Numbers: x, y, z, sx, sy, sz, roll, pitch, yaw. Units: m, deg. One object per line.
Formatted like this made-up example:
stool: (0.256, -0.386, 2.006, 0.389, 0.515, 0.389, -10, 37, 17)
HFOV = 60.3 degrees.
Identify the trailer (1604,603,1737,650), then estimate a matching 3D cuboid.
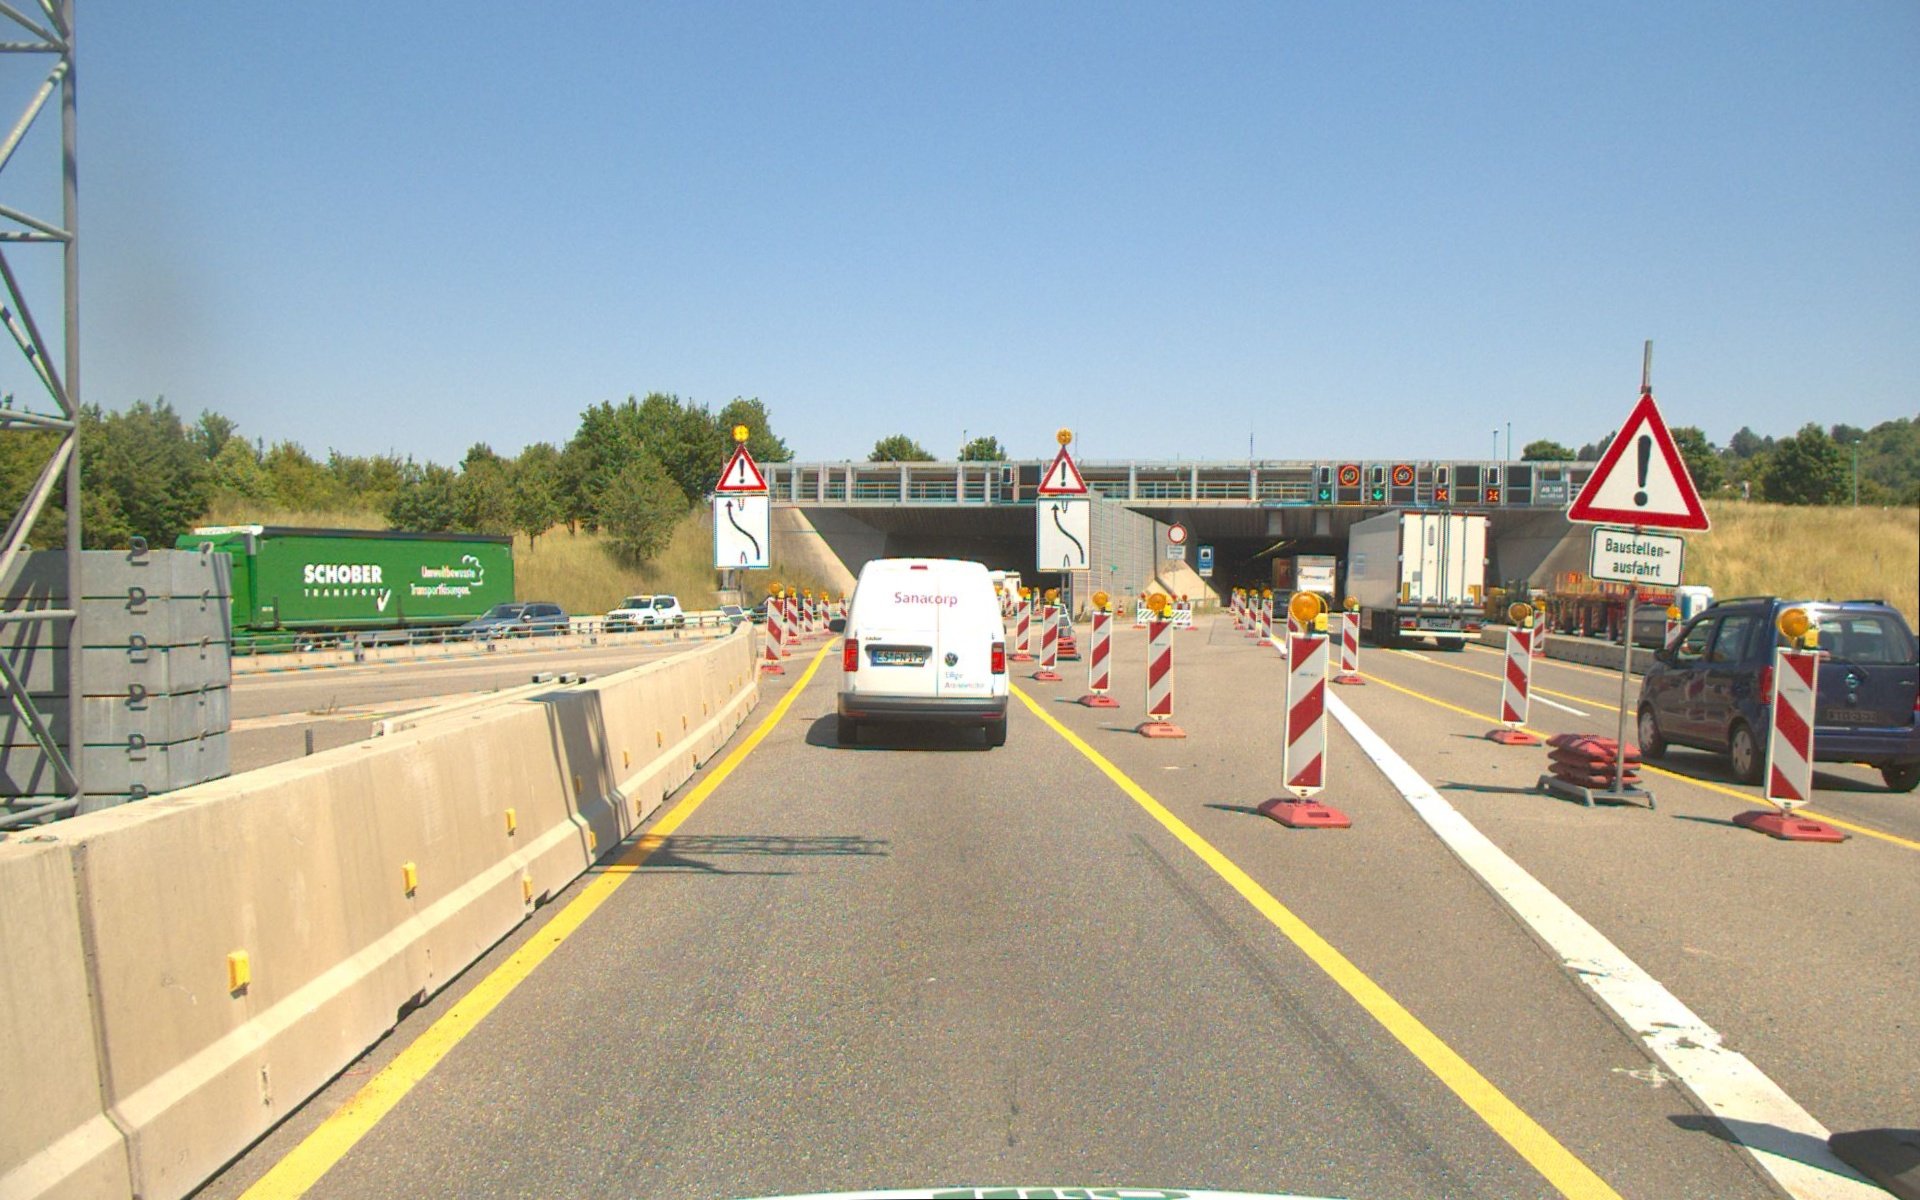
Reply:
trailer: (26.307, 0.935, 61.525, 2.540, 1.596, 6.238, -1, 0, 3)

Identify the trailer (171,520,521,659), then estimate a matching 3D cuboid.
trailer: (-21.243, -0.309, 58.877, 3.472, 4.345, 13.911, 1, 0, 20)

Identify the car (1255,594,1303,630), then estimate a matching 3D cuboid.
car: (15.423, 0.572, 80.077, 1.777, 1.658, 4.192, 2, 0, 4)

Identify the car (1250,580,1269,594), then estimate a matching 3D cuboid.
car: (41.049, -1.781, 226.679, 2.282, 1.870, 4.547, 2, 0, 7)

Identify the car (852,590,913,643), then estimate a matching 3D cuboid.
car: (-2.400, 0.481, 50.678, 1.773, 1.564, 4.406, 0, 0, -4)

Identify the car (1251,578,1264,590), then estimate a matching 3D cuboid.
car: (44.955, -2.399, 250.013, 1.776, 1.658, 4.193, 2, 0, 7)

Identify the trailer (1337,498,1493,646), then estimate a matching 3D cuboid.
trailer: (14.581, -0.779, 54.252, 2.674, 4.133, 14.105, 2, 0, 7)

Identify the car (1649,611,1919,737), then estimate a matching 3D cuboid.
car: (11.368, 0.944, 22.976, 1.777, 1.490, 4.654, 2, 0, 2)

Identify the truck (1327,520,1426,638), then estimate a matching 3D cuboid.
truck: (15.432, -0.744, 61.641, 2.687, 4.104, 5.930, 2, 0, 6)

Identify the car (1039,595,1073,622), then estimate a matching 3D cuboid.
car: (6.744, 0.592, 115.730, 1.912, 1.847, 4.413, 0, 0, 10)

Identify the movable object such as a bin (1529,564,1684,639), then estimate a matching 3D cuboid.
movable object such as a bin: (29.317, 0.075, 75.901, 3.045, 3.063, 14.712, -1, 0, 7)

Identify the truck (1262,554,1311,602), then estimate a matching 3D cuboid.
truck: (31.028, -1.963, 157.940, 3.329, 4.142, 16.548, 2, 0, 7)

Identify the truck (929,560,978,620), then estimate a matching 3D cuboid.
truck: (-0.482, -0.705, 122.532, 2.380, 4.344, 4.842, 0, 0, 16)

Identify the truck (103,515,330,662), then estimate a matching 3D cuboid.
truck: (-23.495, -0.351, 52.572, 3.472, 4.345, 5.780, 1, 0, 20)

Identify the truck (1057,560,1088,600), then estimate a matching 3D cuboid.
truck: (11.933, -2.114, 174.930, 2.284, 4.180, 5.021, 0, 0, 16)

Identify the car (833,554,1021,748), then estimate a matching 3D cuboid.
car: (-0.362, 0.474, 17.474, 1.772, 1.825, 3.730, 0, 0, -2)

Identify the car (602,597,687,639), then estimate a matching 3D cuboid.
car: (-12.825, 0.710, 67.552, 1.679, 1.652, 4.173, 0, 0, 16)

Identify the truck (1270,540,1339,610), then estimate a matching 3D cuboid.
truck: (24.618, -1.605, 119.027, 3.329, 4.411, 16.547, 2, -1, 7)

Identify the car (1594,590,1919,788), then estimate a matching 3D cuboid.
car: (8.063, 0.788, 16.728, 1.777, 1.671, 4.655, 2, 0, 4)

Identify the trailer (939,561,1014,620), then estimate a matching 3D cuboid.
trailer: (1.435, -0.719, 129.307, 2.384, 4.372, 13.819, 0, 0, 16)

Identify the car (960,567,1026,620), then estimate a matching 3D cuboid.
car: (1.927, -0.328, 93.777, 2.754, 2.822, 7.106, 2, -1, 9)

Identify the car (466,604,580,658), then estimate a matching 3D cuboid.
car: (-14.310, 0.984, 54.369, 1.679, 1.652, 4.173, 1, 0, 16)
